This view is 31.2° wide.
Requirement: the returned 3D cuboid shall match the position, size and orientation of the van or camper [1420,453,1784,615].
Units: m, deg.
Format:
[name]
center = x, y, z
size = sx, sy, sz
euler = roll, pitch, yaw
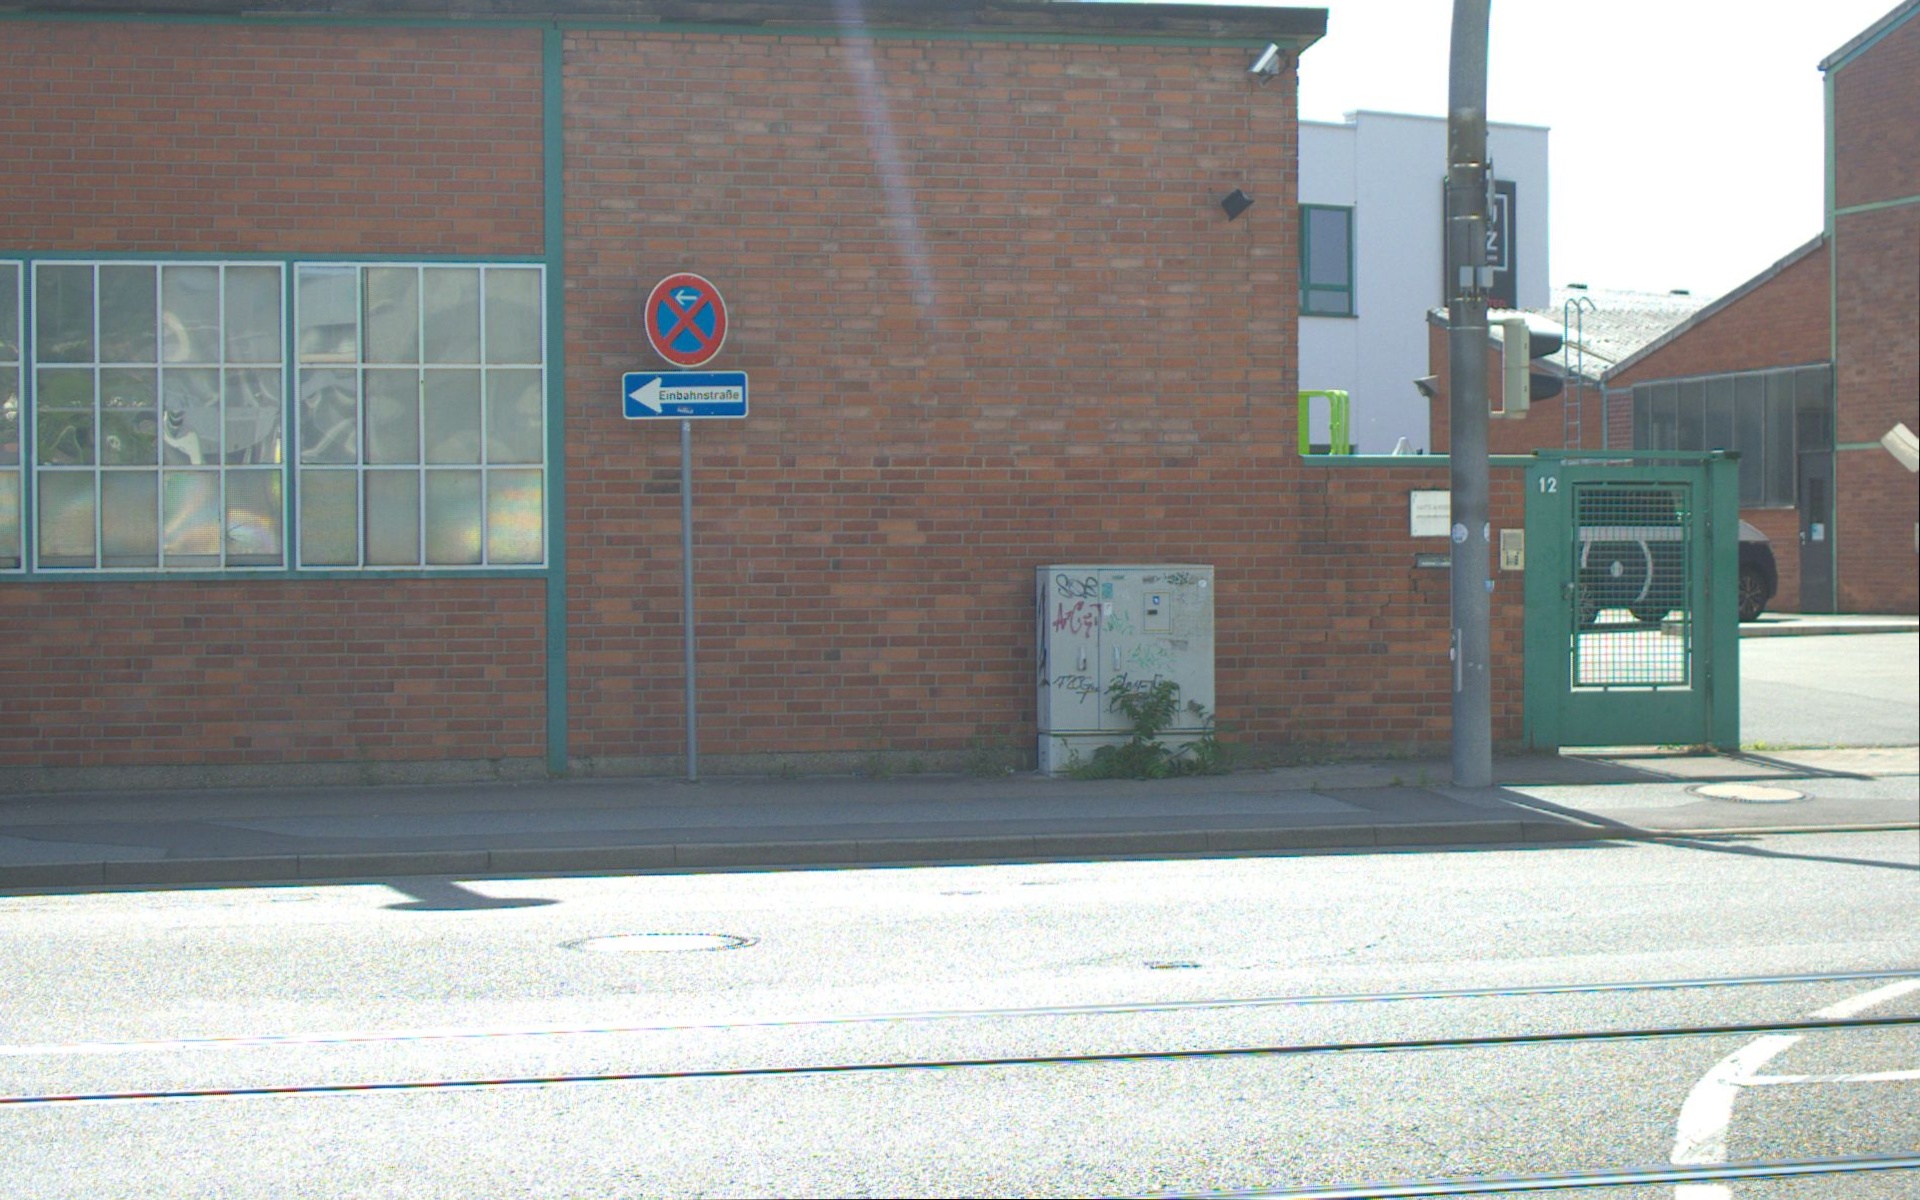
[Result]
[van or camper]
center = 8.180, -0.815, 43.680
size = 4.407, 1.894, 2.000
euler = 1, 0, -35
